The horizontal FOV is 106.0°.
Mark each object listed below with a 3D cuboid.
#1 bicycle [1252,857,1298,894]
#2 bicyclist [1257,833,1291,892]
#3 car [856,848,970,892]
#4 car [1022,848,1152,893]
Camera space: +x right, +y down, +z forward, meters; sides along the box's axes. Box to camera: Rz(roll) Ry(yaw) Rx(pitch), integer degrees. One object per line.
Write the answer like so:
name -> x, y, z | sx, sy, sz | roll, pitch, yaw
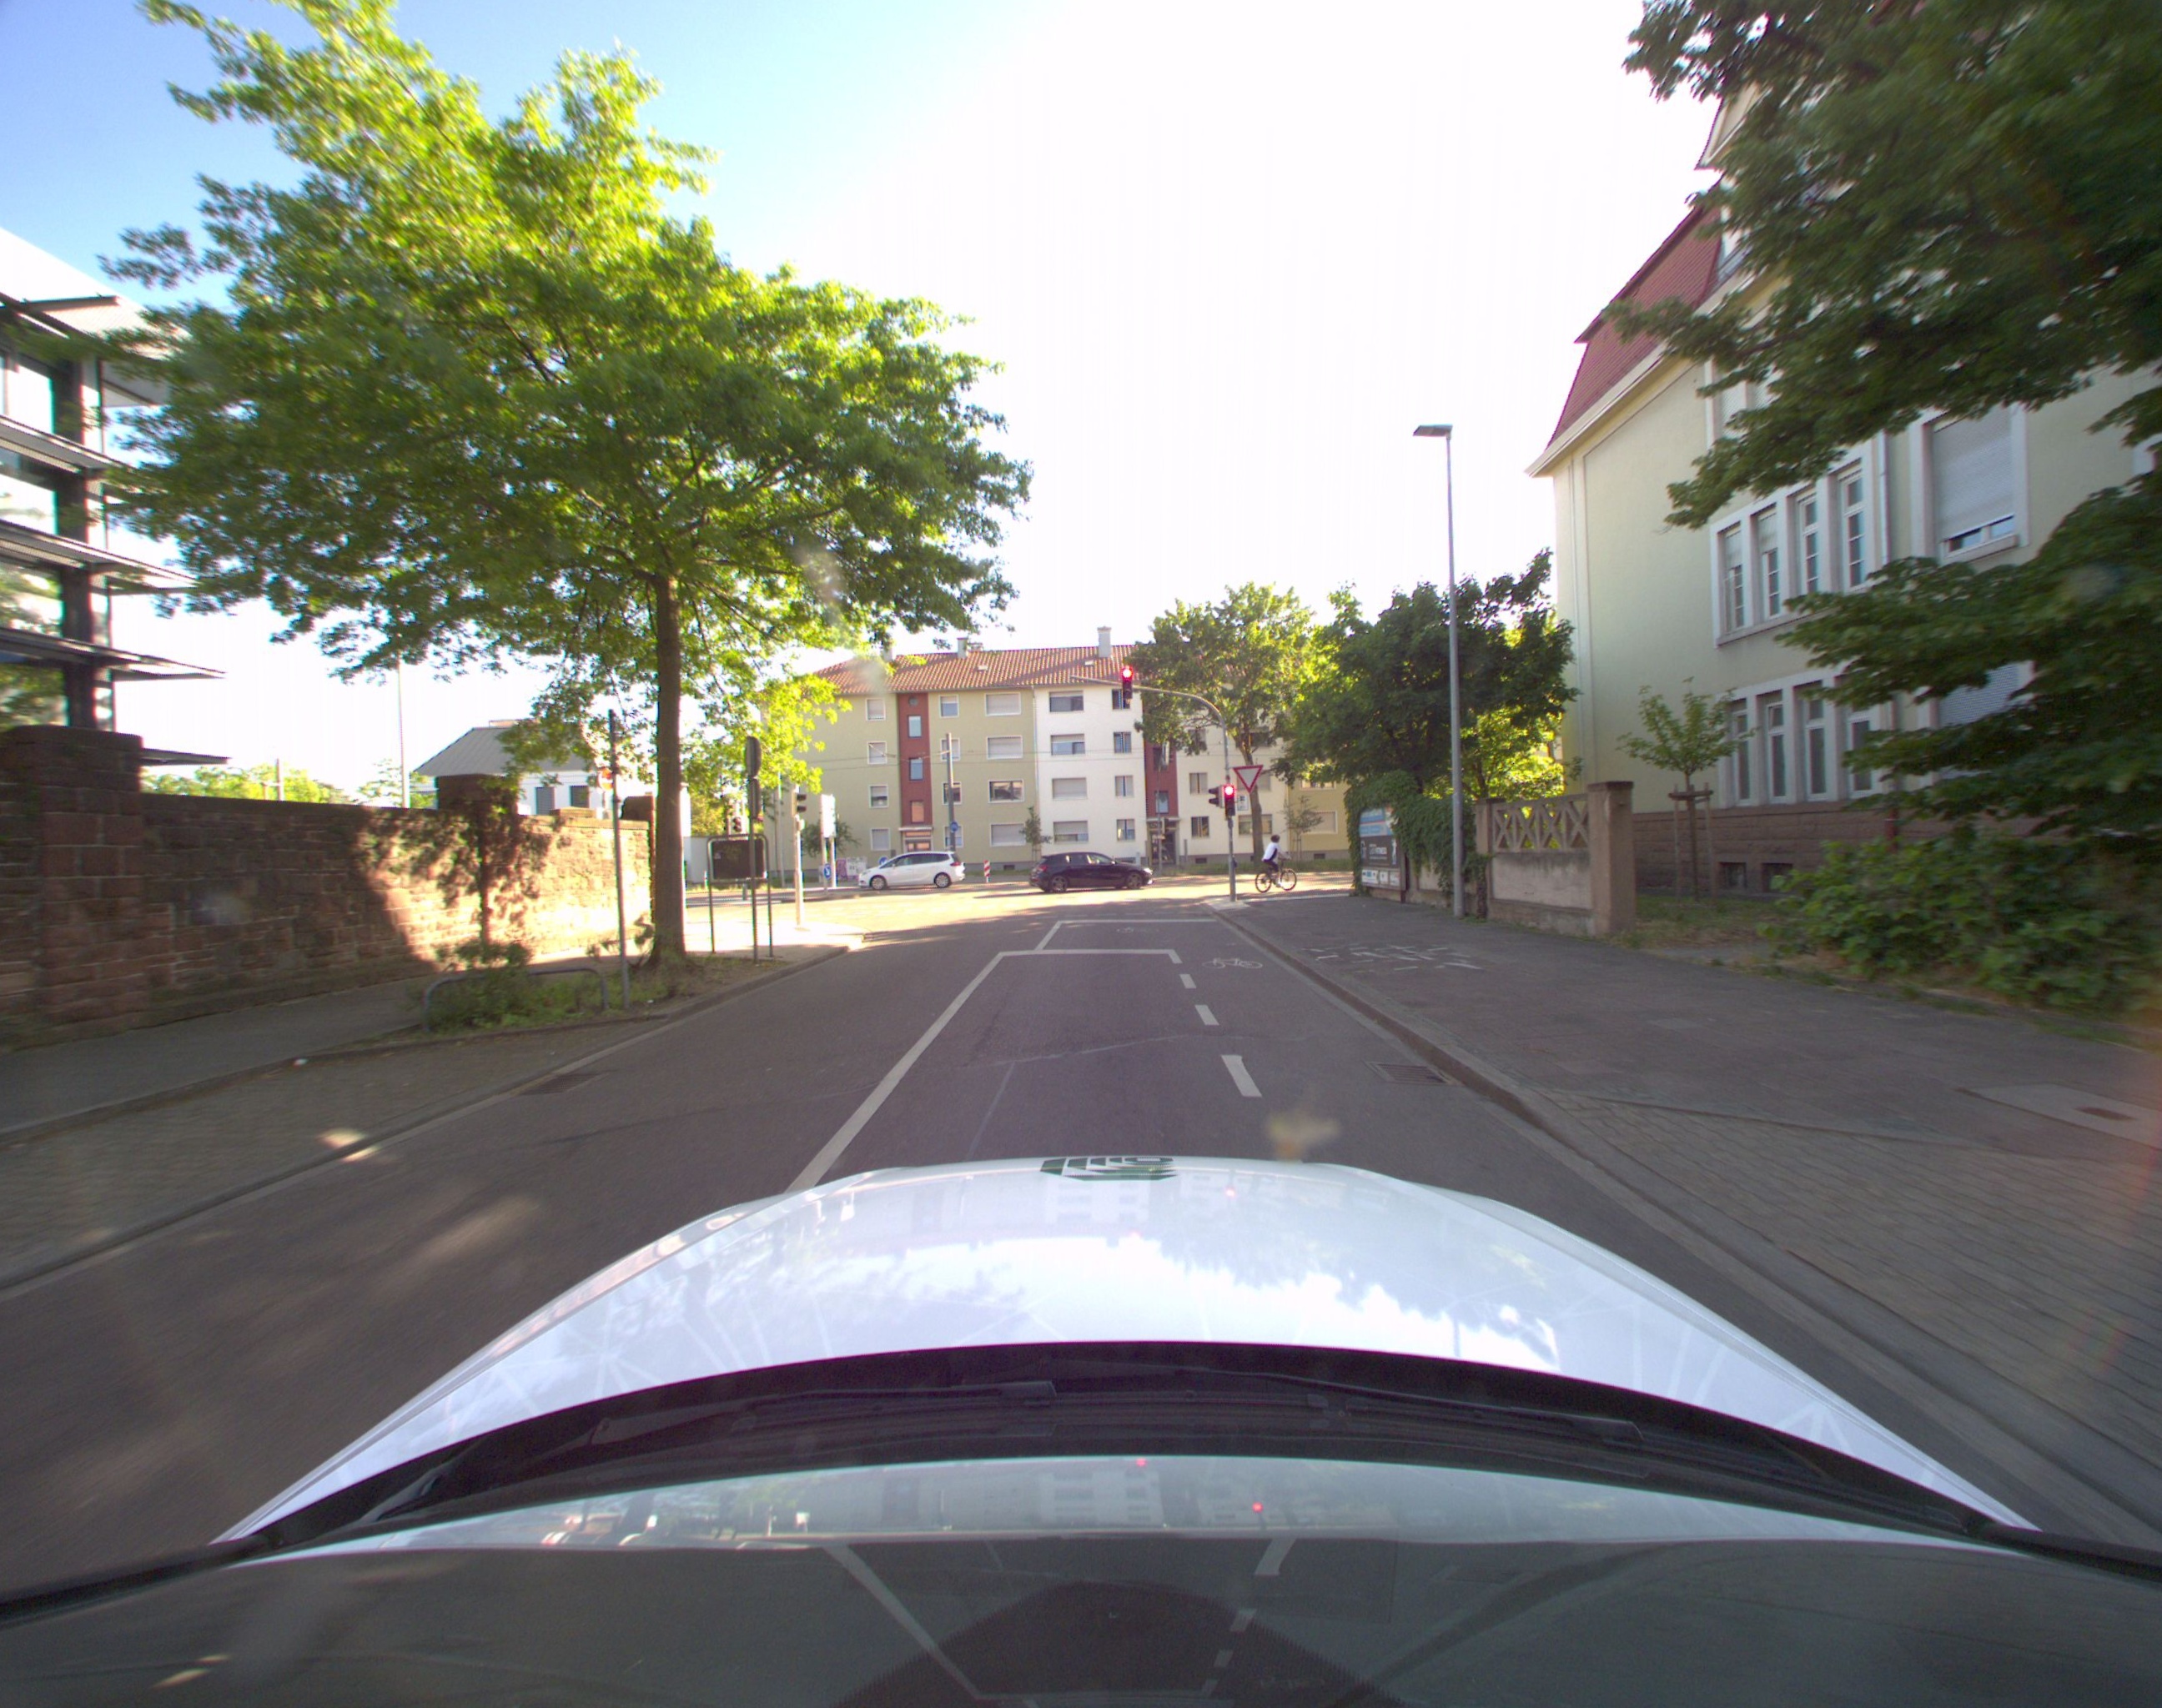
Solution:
bicycle -> 5.978, 0.648, 25.057 | 1.697, 1.080, 0.347 | -2, 0, -37
bicyclist -> 5.924, 0.264, 24.982 | 0.792, 1.757, 0.605 | -2, 0, -37
car -> -7.379, 0.677, 36.145 | 4.655, 1.739, 1.996 | -2, 0, -5
car -> 0.213, 0.540, 28.765 | 4.208, 1.421, 1.840 | -2, 1, -21
